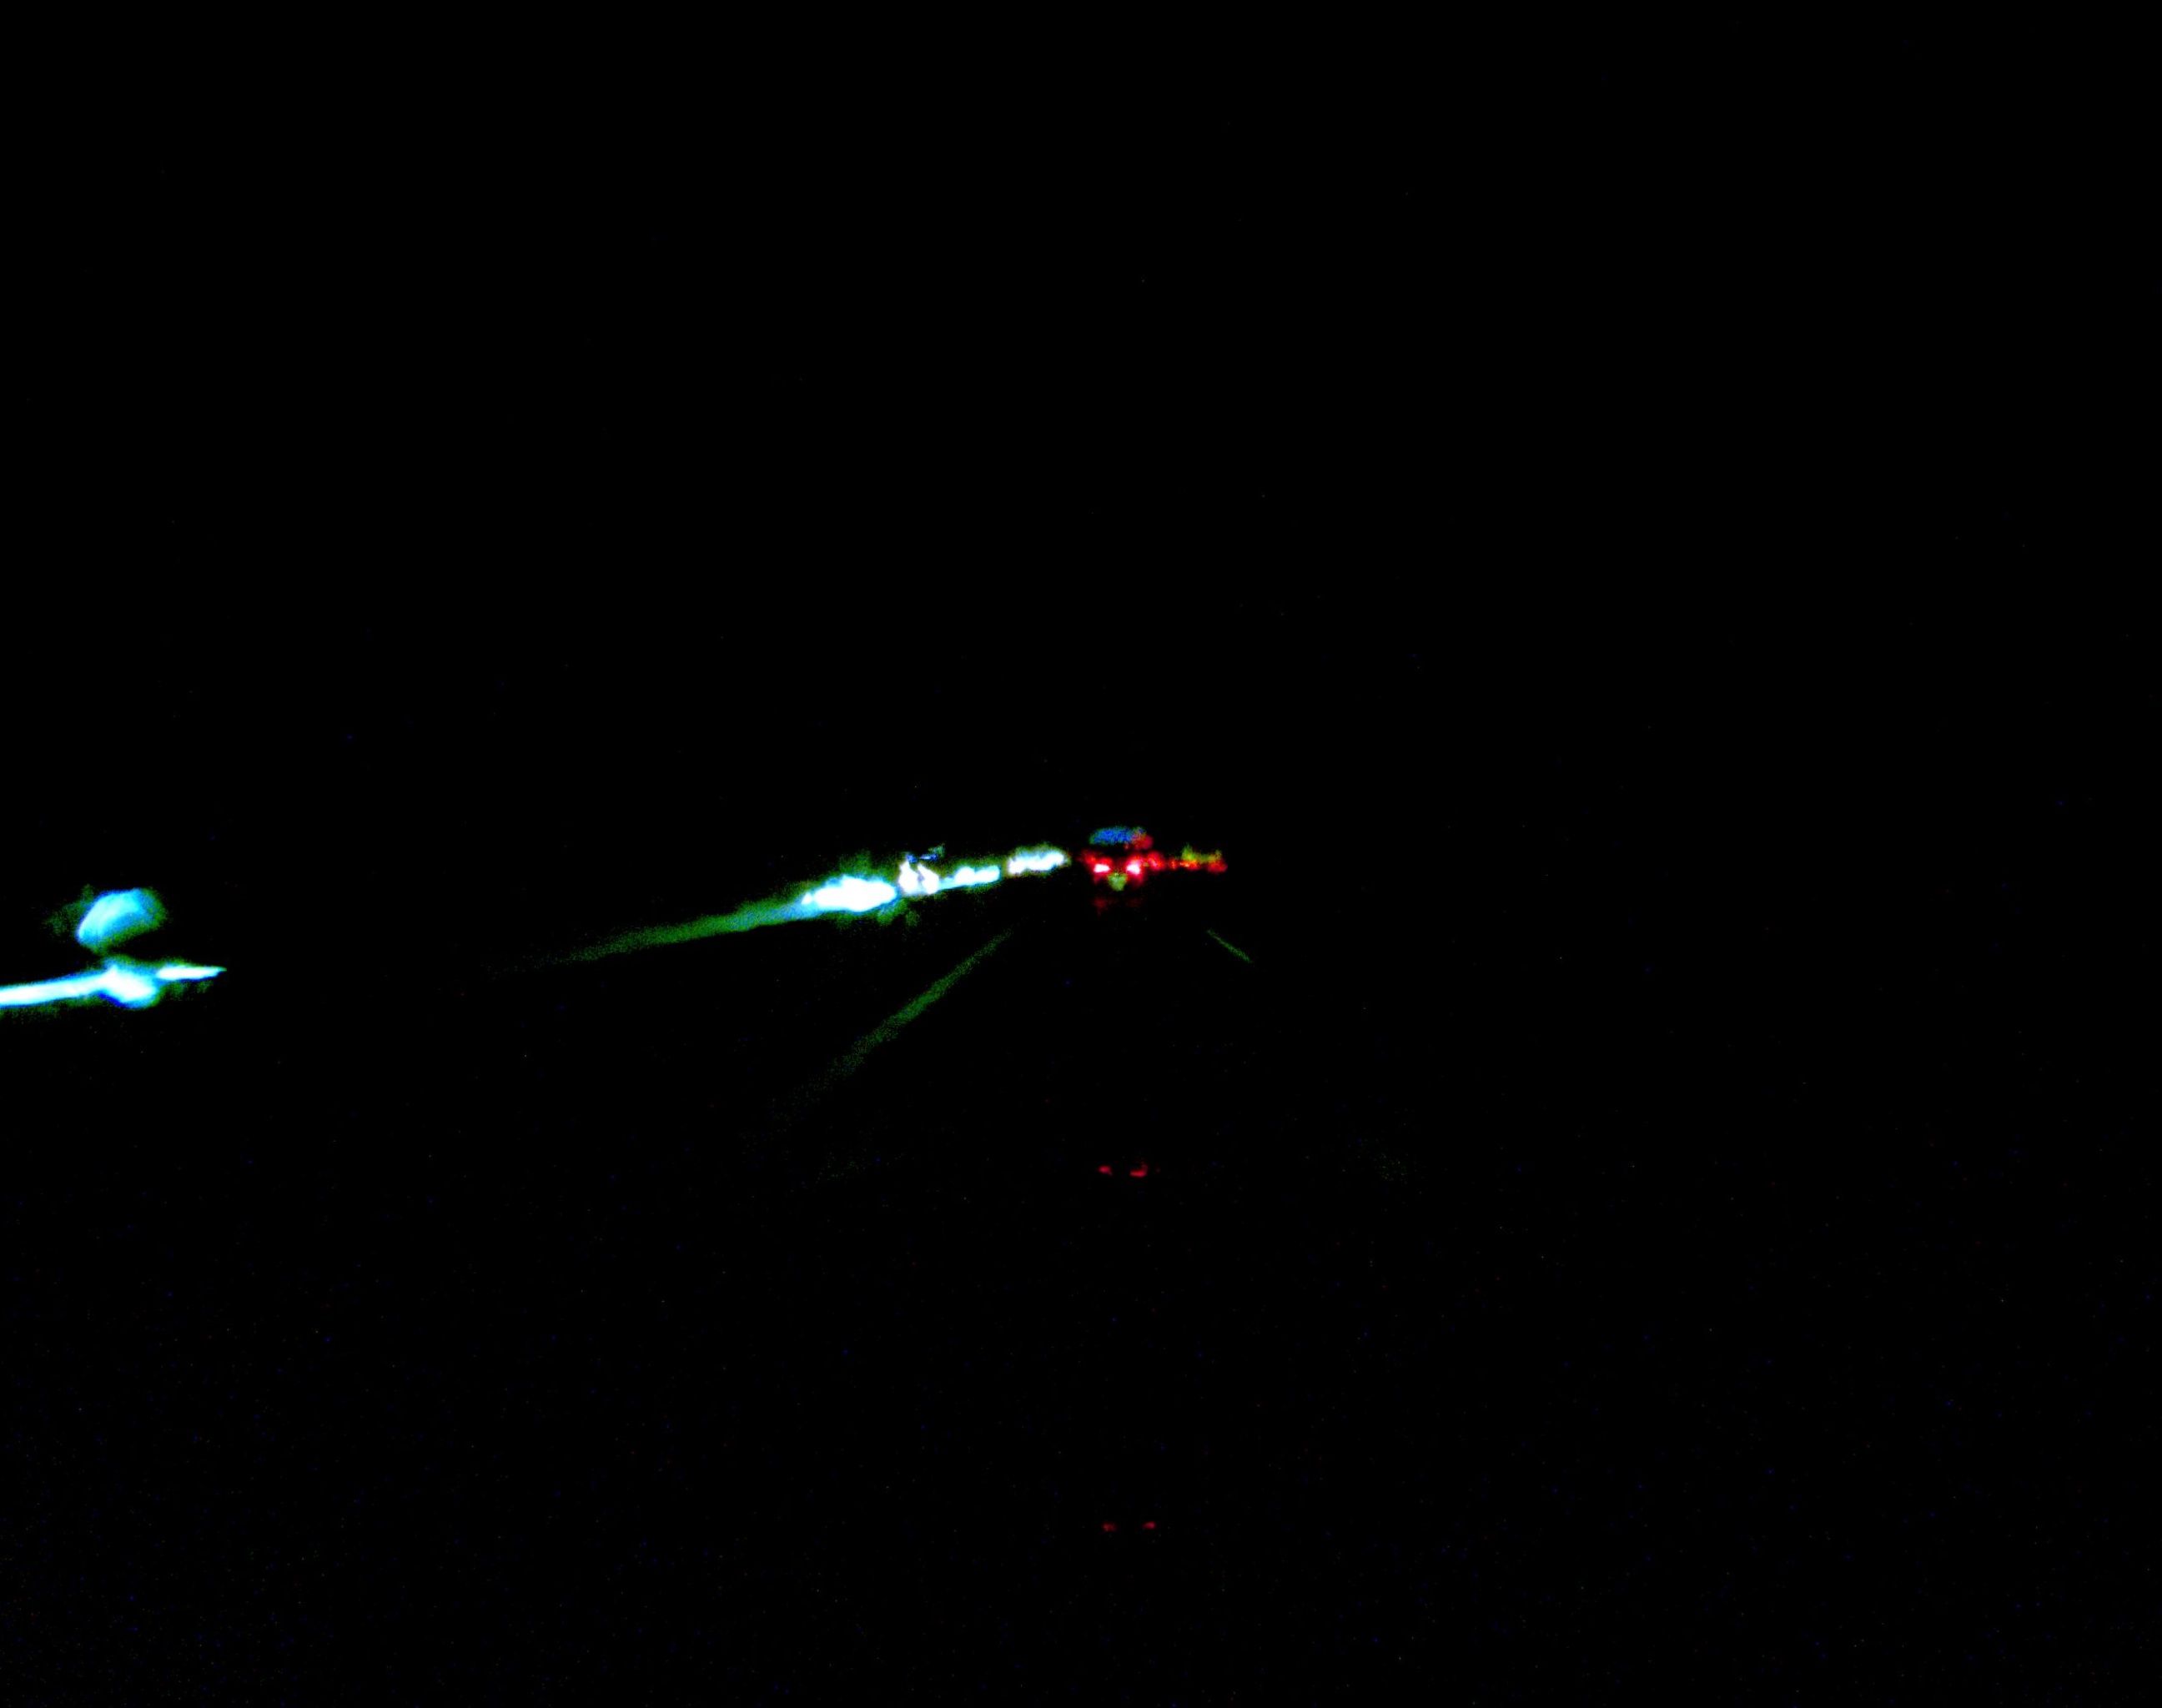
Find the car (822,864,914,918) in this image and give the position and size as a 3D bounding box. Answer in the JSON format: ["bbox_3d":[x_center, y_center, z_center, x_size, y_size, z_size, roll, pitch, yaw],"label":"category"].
[{"bbox_3d":[-7.583,1.276,29.478,1.909,1.684,4.508,-3,-1,2],"label":"car"}]

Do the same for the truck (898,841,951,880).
[{"bbox_3d":[-14.725,0.565,77.293,3.063,3.295,8.347,-3,0,2],"label":"truck"}]

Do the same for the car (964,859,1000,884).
[{"bbox_3d":[-7.438,1.313,61.349,1.909,1.684,4.508,-3,-1,2],"label":"car"}]

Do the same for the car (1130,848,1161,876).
[{"bbox_3d":[5.093,0.649,65.043,1.988,2.013,3.997,-3,-1,-2],"label":"car"}]

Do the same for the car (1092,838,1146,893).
[{"bbox_3d":[1.474,0.450,32.183,1.986,2.014,4.001,-1,-1,1],"label":"car"}]

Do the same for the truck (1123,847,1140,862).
[{"bbox_3d":[11.443,0.145,184.069,3.027,3.297,11.380,-3,-1,0],"label":"truck"}]

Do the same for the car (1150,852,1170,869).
[{"bbox_3d":[10.379,0.879,107.141,1.988,2.013,3.997,-3,-1,-2],"label":"car"}]

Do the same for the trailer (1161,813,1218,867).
[{"bbox_3d":[9.289,-1.071,71.551,3.031,4.108,13.828,-3,-1,0],"label":"trailer"}]

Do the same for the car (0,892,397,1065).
[{"bbox_3d":[-12.137,1.473,10.942,1.909,1.684,4.508,-3,-1,2],"label":"car"}]
